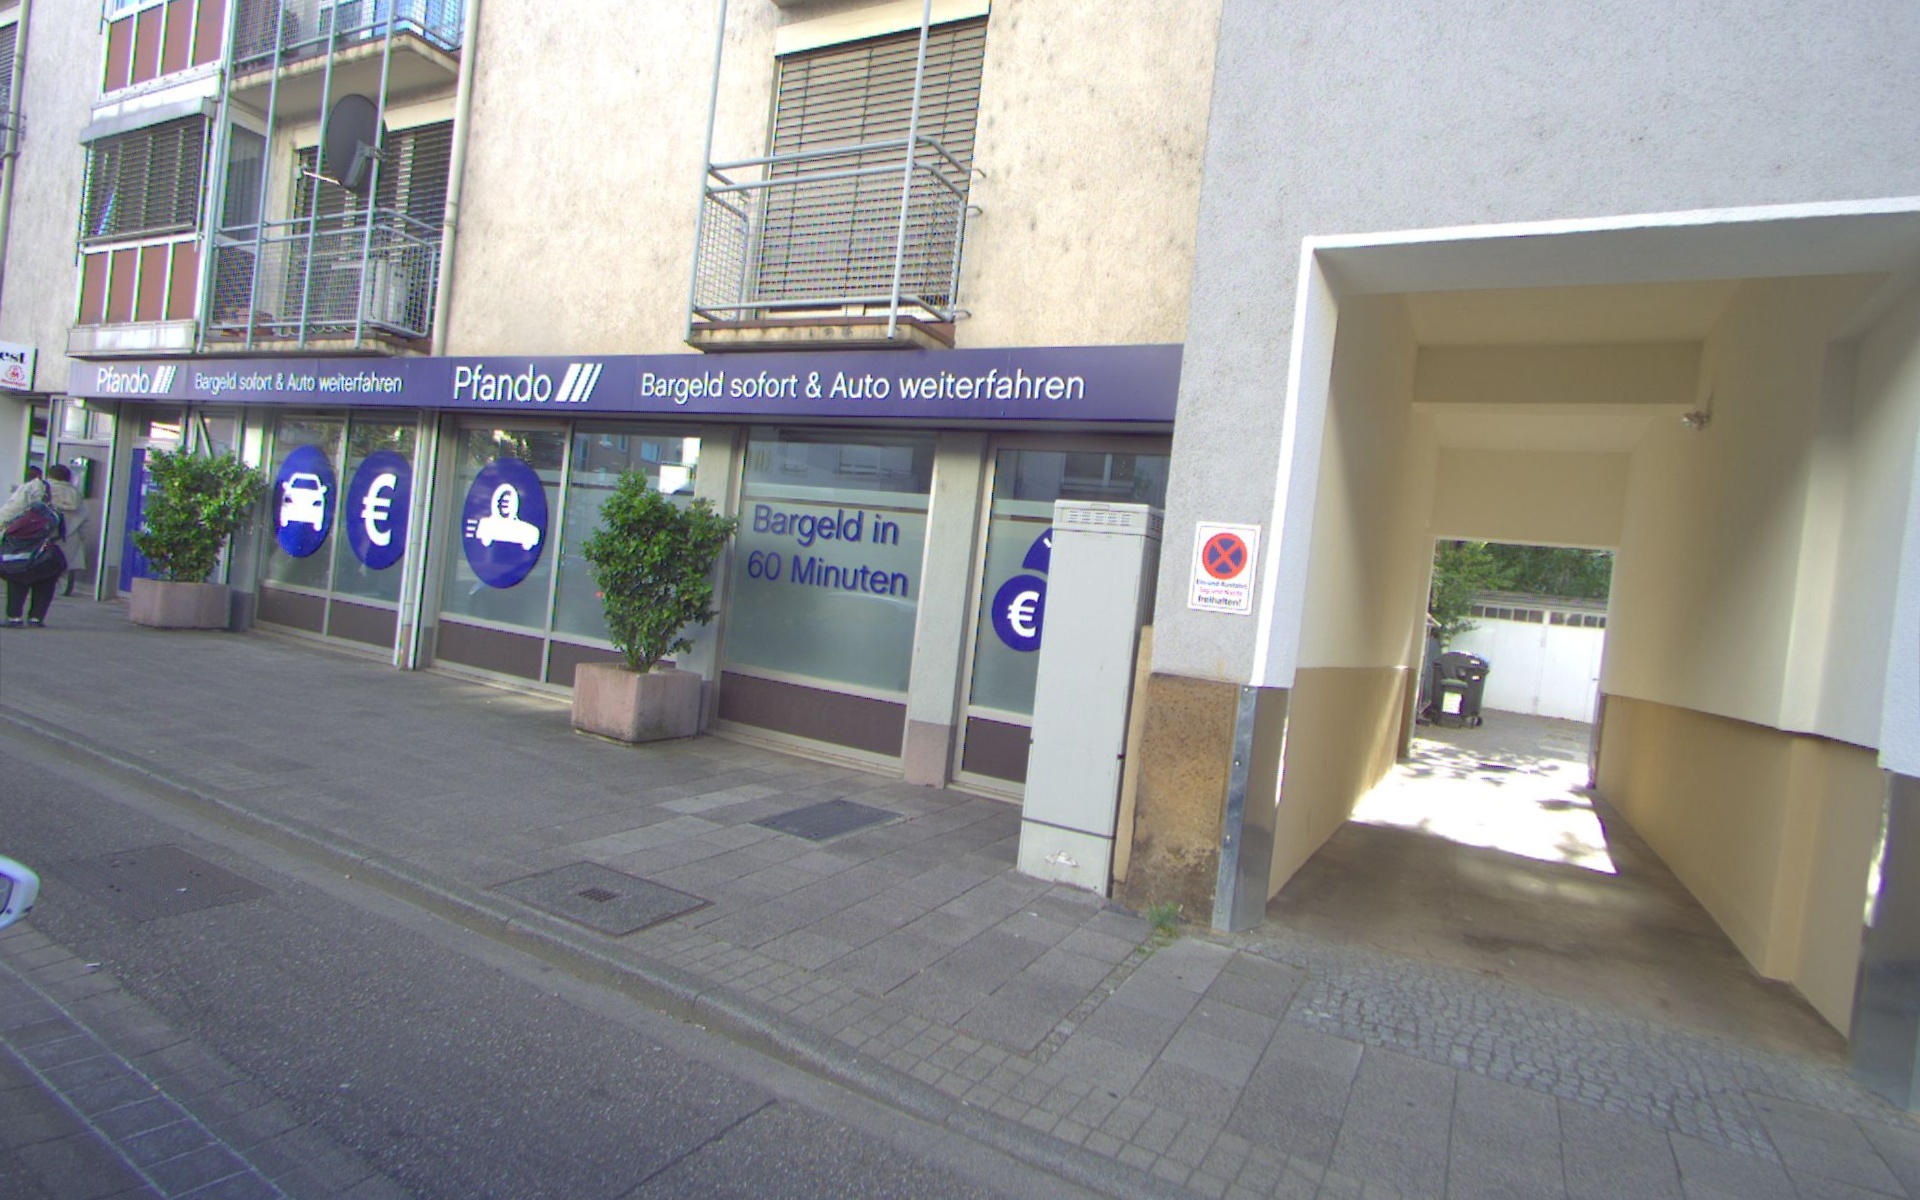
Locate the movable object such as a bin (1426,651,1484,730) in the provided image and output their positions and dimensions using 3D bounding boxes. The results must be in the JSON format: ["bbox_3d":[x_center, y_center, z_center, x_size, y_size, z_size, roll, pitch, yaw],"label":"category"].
[{"bbox_3d":[9.797,1.769,19.893,0.873,1.411,0.758,7,2,28],"label":"movable object such as a bin"}]

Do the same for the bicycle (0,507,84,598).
[{"bbox_3d":[-11.904,-0.634,12.826,1.678,1.010,0.543,6,-1,32],"label":"bicycle"}]

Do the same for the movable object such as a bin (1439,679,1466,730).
[{"bbox_3d":[9.454,1.998,19.323,0.365,0.920,0.420,7,2,28],"label":"movable object such as a bin"}]

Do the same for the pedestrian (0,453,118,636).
[{"bbox_3d":[-8.828,-0.522,9.636,0.738,1.611,0.827,6,-1,31],"label":"pedestrian"}]
